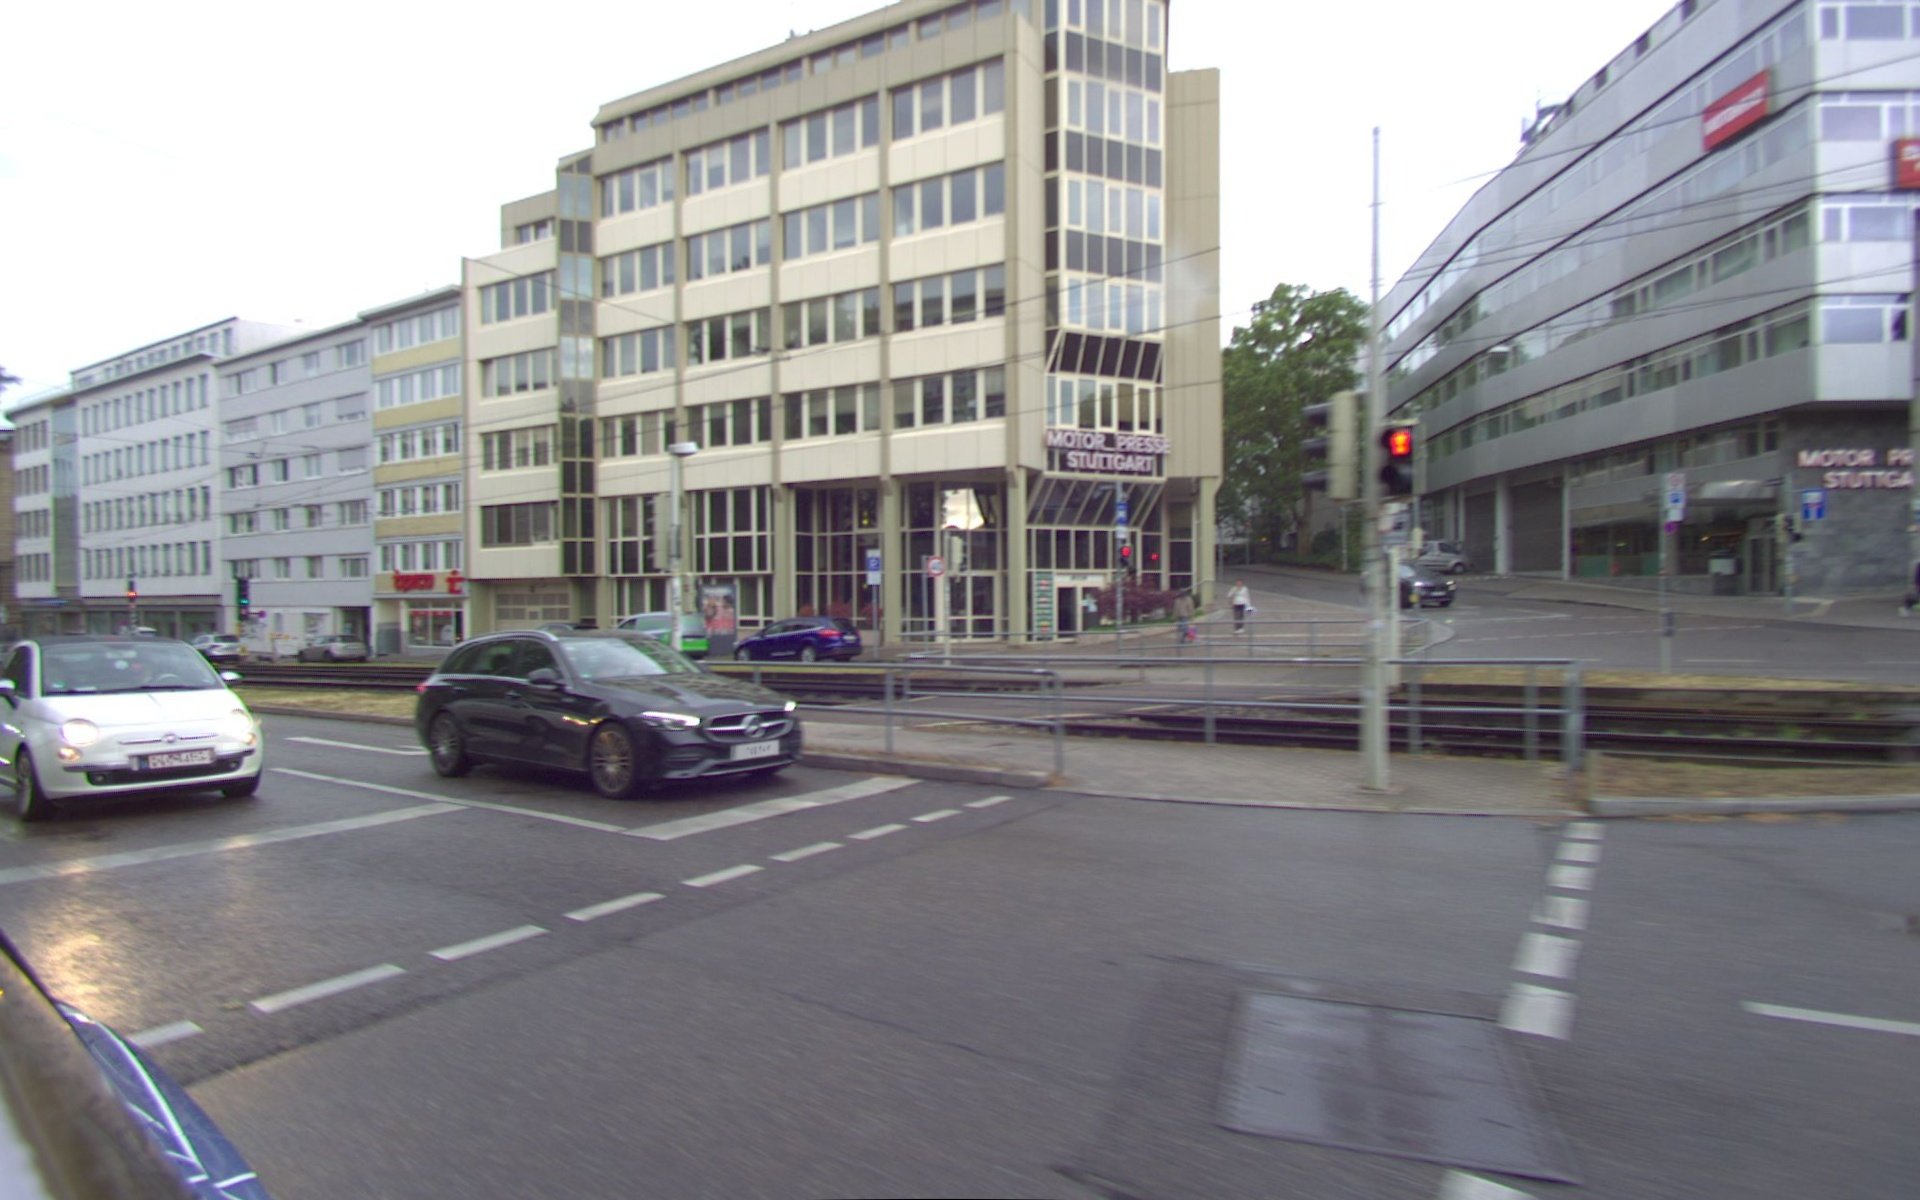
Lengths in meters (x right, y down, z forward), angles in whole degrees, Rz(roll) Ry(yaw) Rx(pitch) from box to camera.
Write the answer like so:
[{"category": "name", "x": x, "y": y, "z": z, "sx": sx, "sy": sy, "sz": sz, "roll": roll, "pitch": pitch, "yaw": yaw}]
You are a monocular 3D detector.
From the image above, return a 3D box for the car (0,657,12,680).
[{"category": "car", "x": -61.021, "y": 4.319, "z": 63.247, "sx": 3.858, "sy": 1.367, "sz": 1.615, "roll": -2, "pitch": 0, "yaw": 31}]

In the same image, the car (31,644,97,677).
[{"category": "car", "x": -57.948, "y": 3.884, "z": 65.439, "sx": 4.461, "sy": 1.950, "sz": 1.871, "roll": -2, "pitch": 0, "yaw": 31}]

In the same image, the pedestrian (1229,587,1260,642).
[{"category": "pedestrian", "x": 8.790, "y": 0.437, "z": 31.278, "sx": 0.710, "sy": 1.651, "sz": 0.759, "roll": -2, "pitch": 1, "yaw": 3}]

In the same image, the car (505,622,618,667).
[{"category": "car", "x": -14.875, "y": 1.648, "z": 37.717, "sx": 4.062, "sy": 1.525, "sz": 1.783, "roll": -2, "pitch": 0, "yaw": 31}]

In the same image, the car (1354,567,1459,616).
[{"category": "car", "x": 17.315, "y": -0.393, "z": 39.546, "sx": 1.972, "sy": 1.592, "sz": 4.887, "roll": -2, "pitch": 3, "yaw": 1}]

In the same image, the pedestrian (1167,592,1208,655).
[{"category": "pedestrian", "x": 6.704, "y": 0.674, "z": 29.834, "sx": 0.747, "sy": 1.800, "sz": 0.833, "roll": -2, "pitch": 1, "yaw": -33}]

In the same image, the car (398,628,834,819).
[{"category": "car", "x": -3.466, "y": 1.027, "z": 9.816, "sx": 4.466, "sy": 1.453, "sz": 1.779, "roll": -2, "pitch": -2, "yaw": 36}]

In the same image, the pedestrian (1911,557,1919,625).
[{"category": "pedestrian", "x": 26.614, "y": -0.252, "z": 27.489, "sx": 0.710, "sy": 1.875, "sz": 0.848, "roll": -2, "pitch": 1, "yaw": 3}]

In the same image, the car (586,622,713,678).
[{"category": "car", "x": -10.731, "y": 1.699, "z": 34.967, "sx": 4.200, "sy": 1.759, "sz": 1.784, "roll": -2, "pitch": 0, "yaw": 30}]

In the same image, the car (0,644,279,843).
[{"category": "car", "x": -7.789, "y": 1.146, "z": 9.251, "sx": 3.435, "sy": 1.445, "sz": 1.634, "roll": -2, "pitch": -2, "yaw": 38}]

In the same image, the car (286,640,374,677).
[{"category": "car", "x": -29.277, "y": 2.700, "z": 47.010, "sx": 4.062, "sy": 1.525, "sz": 1.783, "roll": -2, "pitch": 0, "yaw": 31}]

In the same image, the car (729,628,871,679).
[{"category": "car", "x": -4.953, "y": 1.631, "z": 31.191, "sx": 4.203, "sy": 1.488, "sz": 1.782, "roll": -2, "pitch": -2, "yaw": 32}]

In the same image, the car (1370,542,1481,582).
[{"category": "car", "x": 26.585, "y": -2.144, "z": 57.964, "sx": 5.352, "sy": 2.029, "sz": 1.994, "roll": -1, "pitch": -2, "yaw": 9}]

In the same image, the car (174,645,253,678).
[{"category": "car", "x": -39.147, "y": 3.204, "z": 53.057, "sx": 4.062, "sy": 1.525, "sz": 1.871, "roll": -2, "pitch": 0, "yaw": 31}]

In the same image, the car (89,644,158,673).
[{"category": "car", "x": -43.692, "y": 3.041, "z": 52.850, "sx": 3.858, "sy": 1.367, "sz": 1.615, "roll": -2, "pitch": 0, "yaw": 31}]
